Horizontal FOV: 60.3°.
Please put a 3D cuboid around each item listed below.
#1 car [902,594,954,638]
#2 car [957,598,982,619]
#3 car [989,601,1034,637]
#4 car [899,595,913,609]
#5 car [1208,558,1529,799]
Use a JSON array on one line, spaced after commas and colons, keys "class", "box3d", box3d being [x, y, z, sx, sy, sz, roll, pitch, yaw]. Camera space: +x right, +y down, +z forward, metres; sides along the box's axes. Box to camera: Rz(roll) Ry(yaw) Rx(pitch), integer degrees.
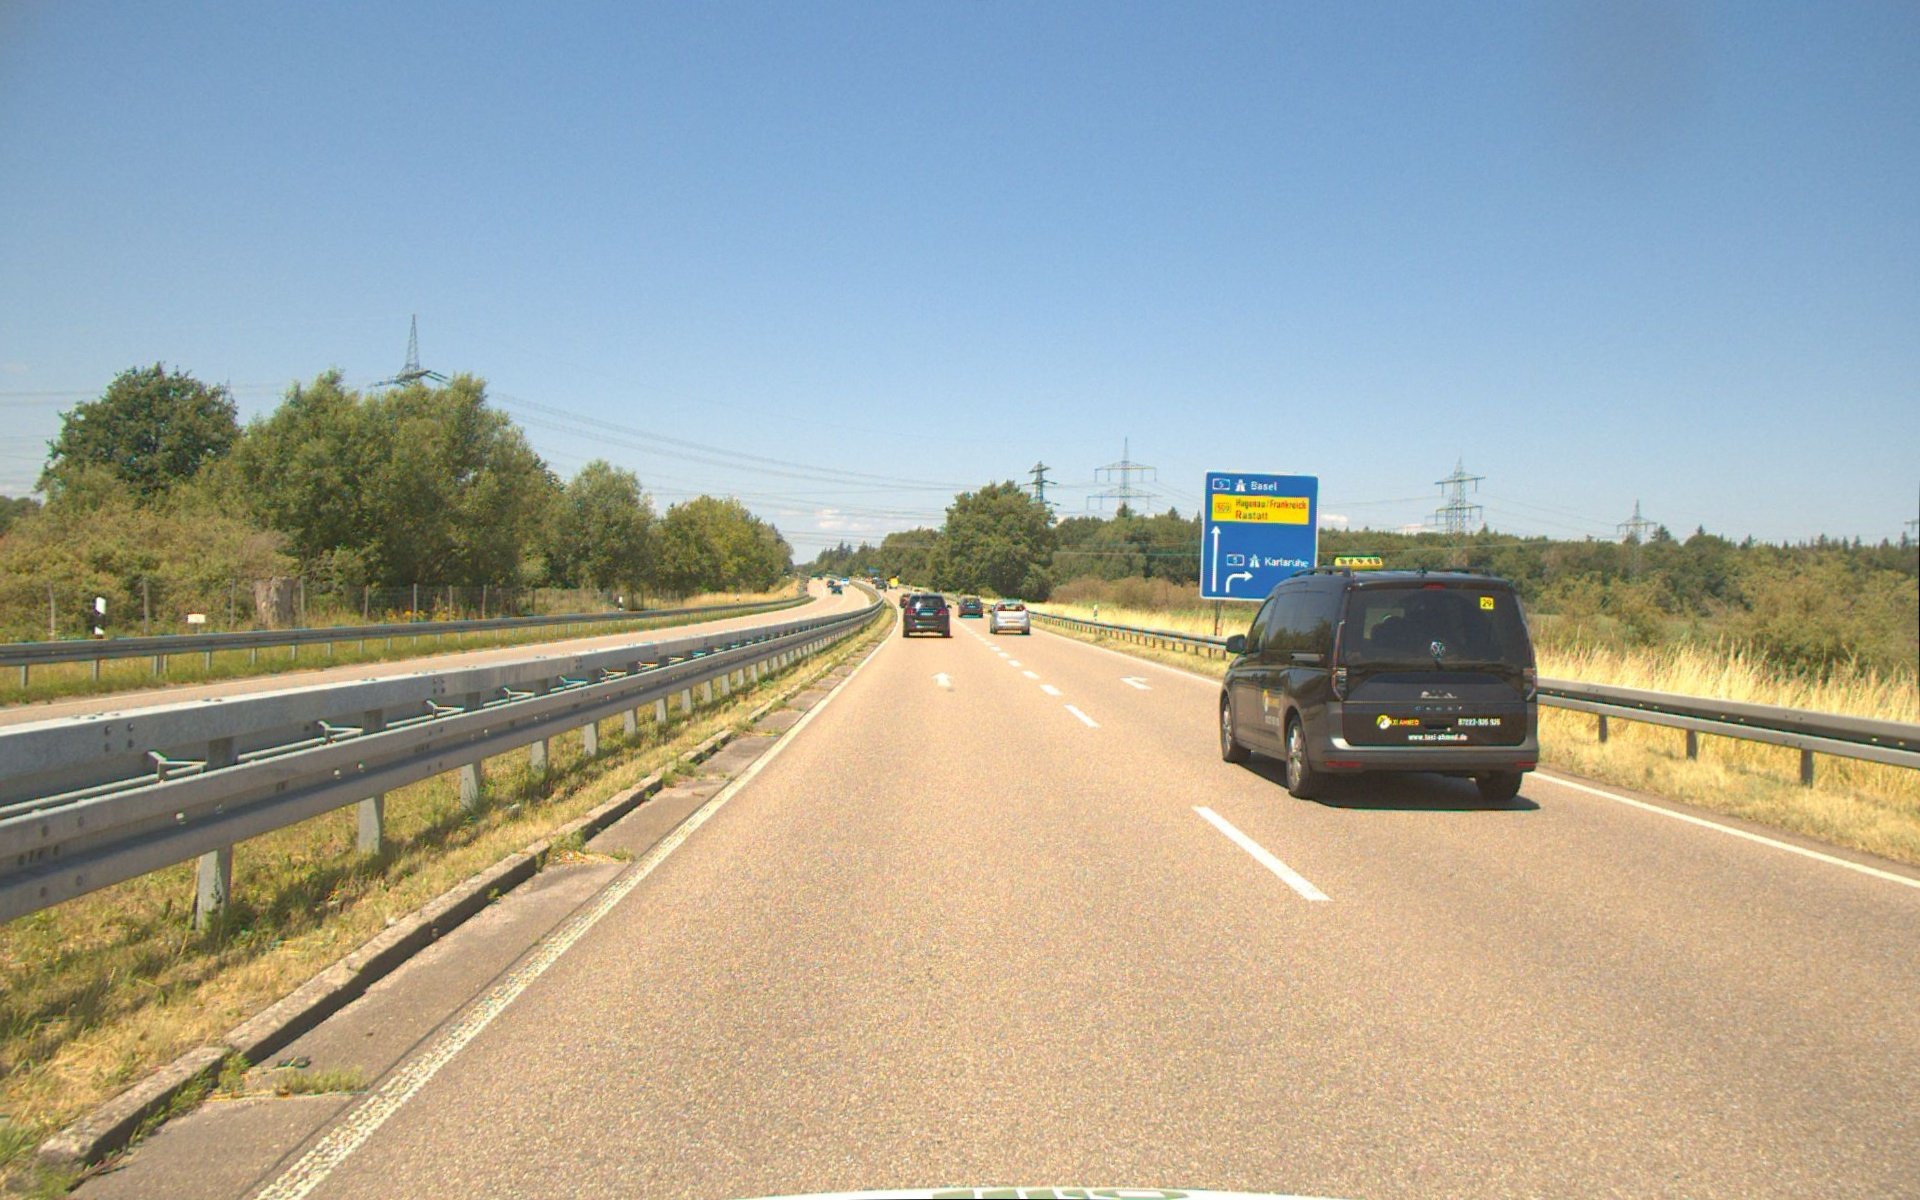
[{"class": "car", "box3d": [-1.298, 0.629, 66.976, 1.953, 1.683, 3.999, 2, 0, -1]}, {"class": "car", "box3d": [0.665, 0.604, 121.481, 1.782, 1.439, 4.000, 2, 0, 0]}, {"class": "car", "box3d": [2.289, 0.849, 74.710, 1.743, 1.505, 4.314, 2, 0, -1]}, {"class": "car", "box3d": [-6.040, 0.182, 185.809, 1.484, 1.501, 3.064, 2, 0, -3]}, {"class": "car", "box3d": [3.510, 0.615, 15.006, 1.744, 1.848, 4.211, 1, 0, -2]}]
